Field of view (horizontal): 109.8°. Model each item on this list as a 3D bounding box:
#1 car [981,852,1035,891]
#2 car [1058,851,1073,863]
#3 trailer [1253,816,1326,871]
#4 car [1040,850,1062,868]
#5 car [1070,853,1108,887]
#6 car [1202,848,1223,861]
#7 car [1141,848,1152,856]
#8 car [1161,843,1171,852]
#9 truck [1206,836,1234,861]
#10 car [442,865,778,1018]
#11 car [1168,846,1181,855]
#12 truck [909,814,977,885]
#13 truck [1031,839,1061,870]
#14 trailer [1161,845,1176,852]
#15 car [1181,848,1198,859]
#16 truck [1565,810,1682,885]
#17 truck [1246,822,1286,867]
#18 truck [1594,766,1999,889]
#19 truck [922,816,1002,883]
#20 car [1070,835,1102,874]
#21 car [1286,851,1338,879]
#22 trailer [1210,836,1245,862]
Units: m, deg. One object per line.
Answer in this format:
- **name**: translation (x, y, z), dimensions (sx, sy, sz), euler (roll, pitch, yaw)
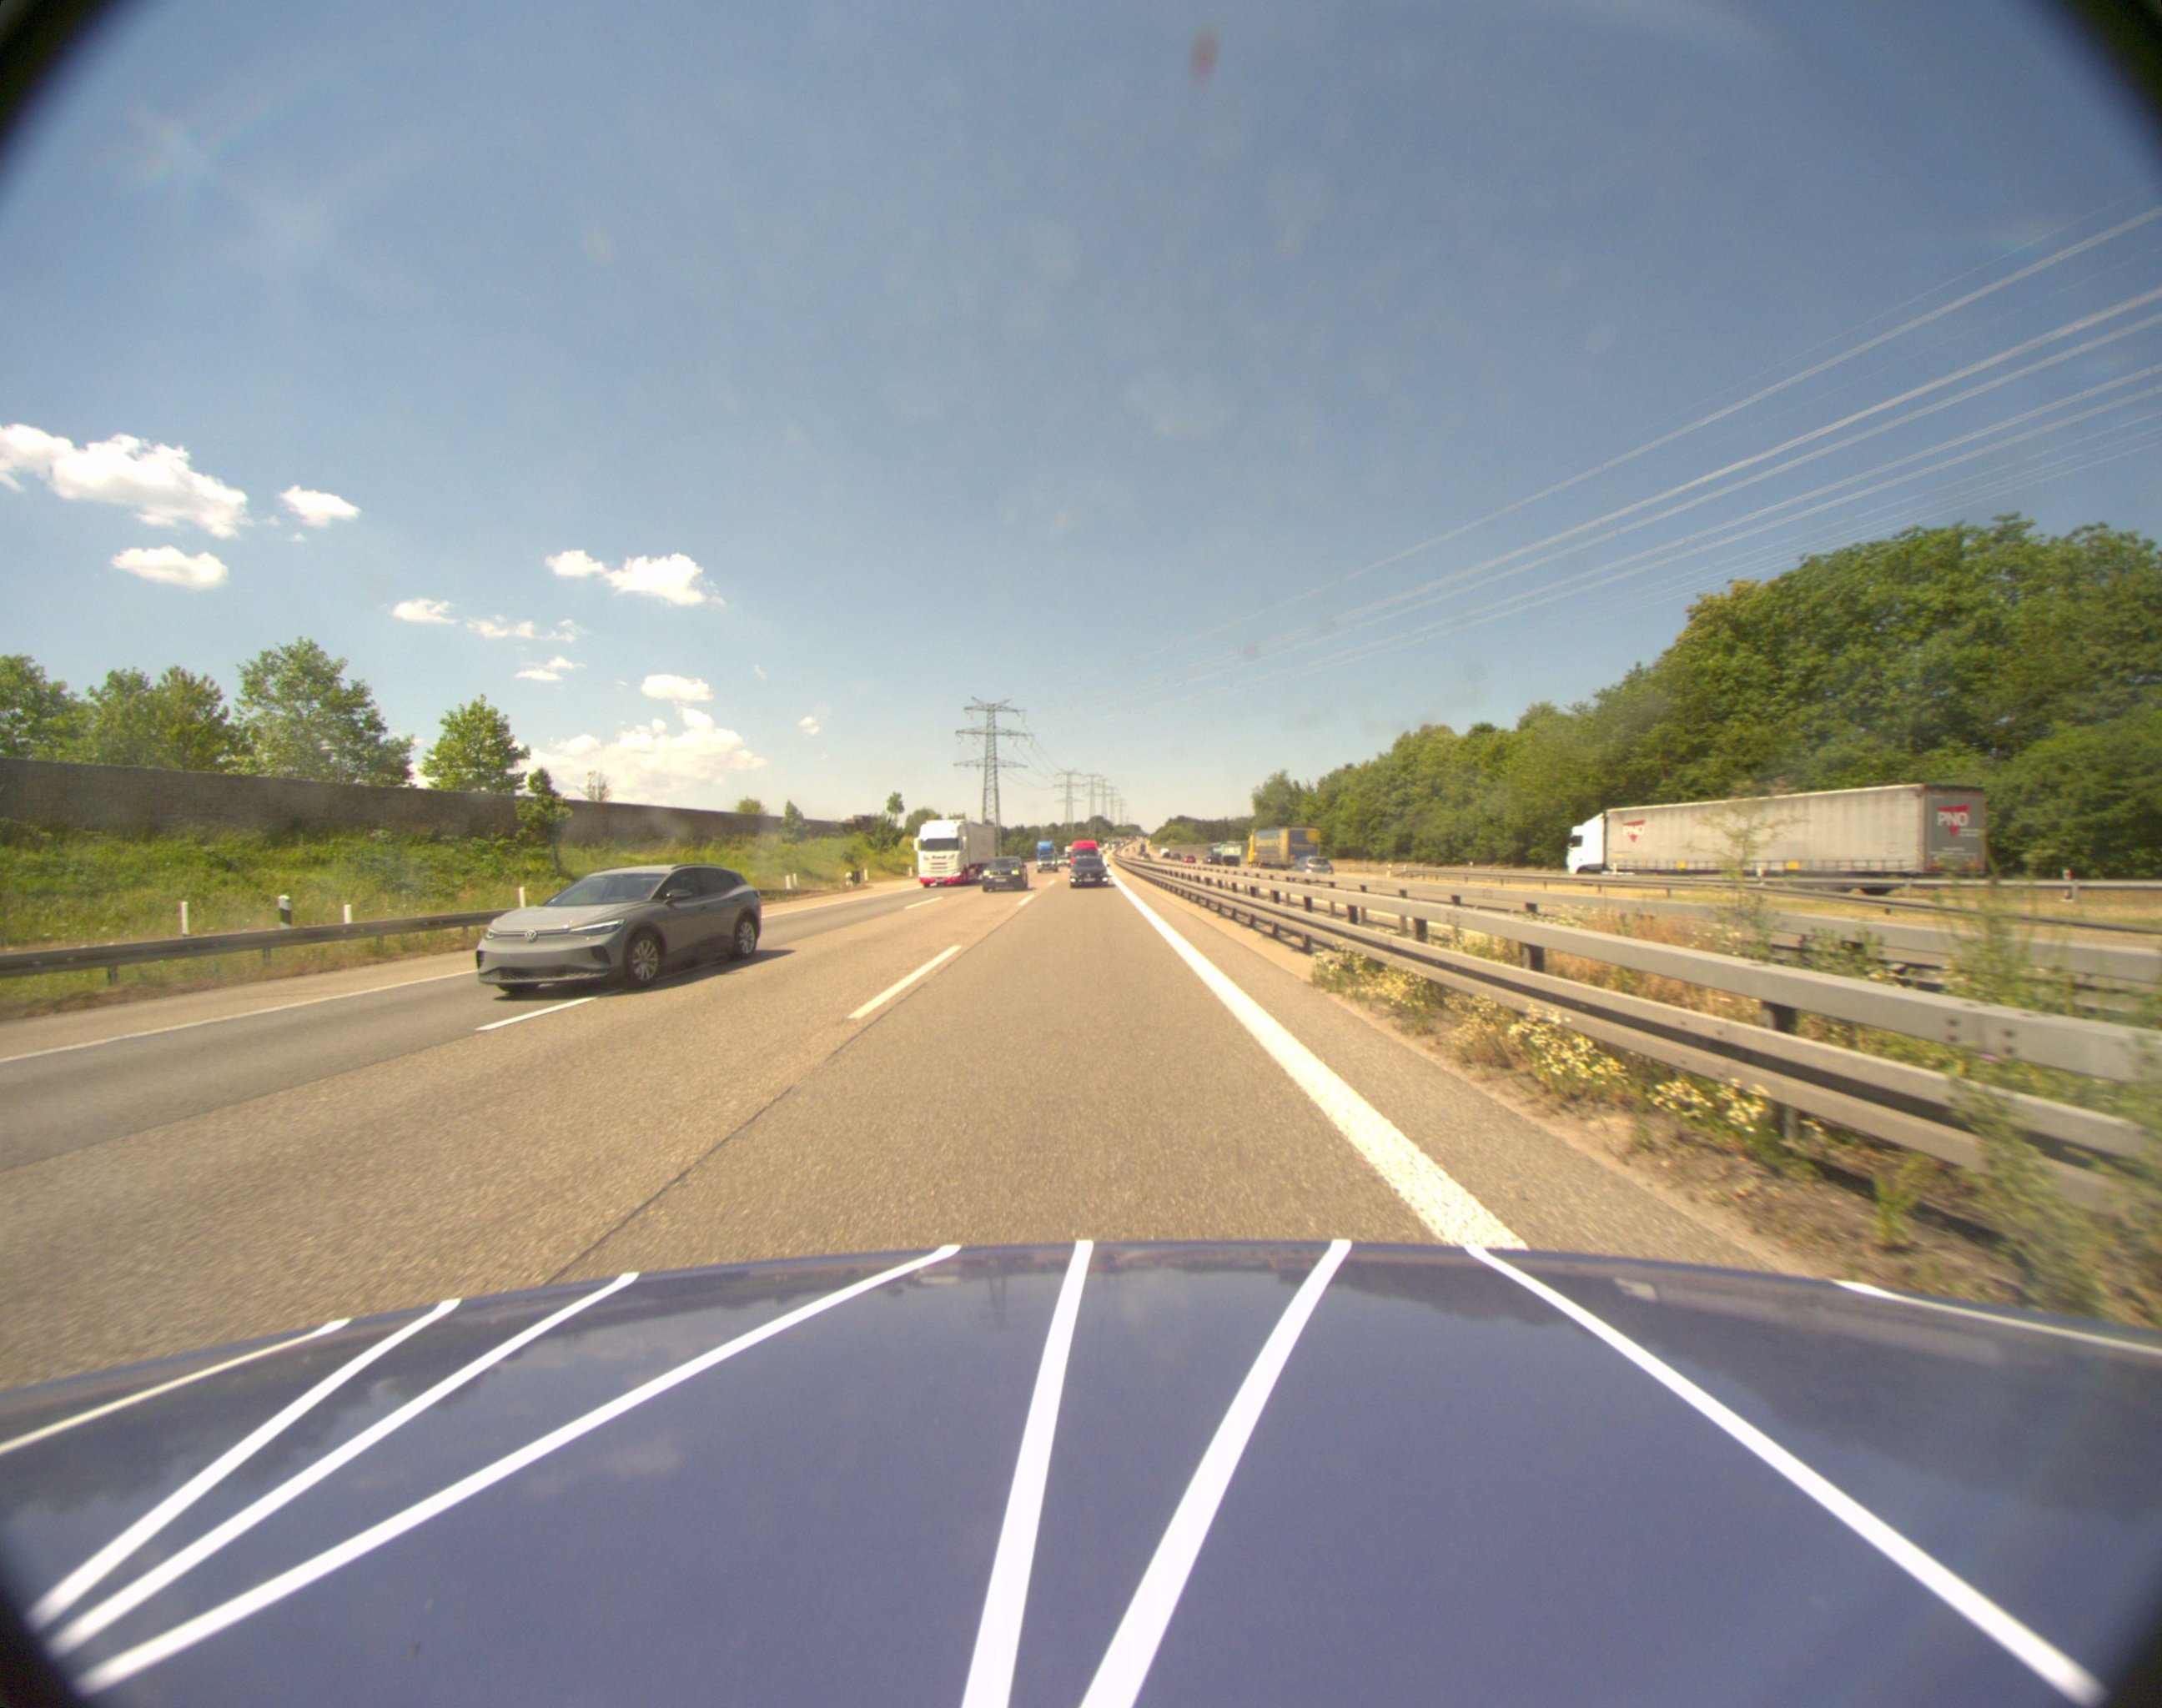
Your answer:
- **car**: translation (-3.394, 0.778, 36.046), dimensions (1.955, 1.637, 4.047), euler (-3, 1, 2)
- **car**: translation (-2.168, 0.349, 104.556), dimensions (1.879, 1.591, 3.688), euler (0, 1, 2)
- **trailer**: translation (18.044, -0.881, 67.072), dimensions (3.182, 4.316, 13.813), euler (-1, 1, 2)
- **car**: translation (-2.842, 0.464, 72.524), dimensions (1.749, 1.691, 4.088), euler (0, 1, 2)
- **car**: translation (0.426, 0.724, 37.033), dimensions (1.735, 1.535, 3.750), euler (0, 1, 2)
- **car**: translation (14.490, 0.030, 84.045), dimensions (1.716, 1.460, 4.146), euler (1, 1, 2)
- **car**: translation (12.764, -0.420, 148.548), dimensions (1.786, 1.615, 4.000), euler (0, 1, 1)
- **car**: translation (23.070, -1.762, 205.686), dimensions (2.114, 2.624, 6.003), euler (1, 1, 1)
- **truck**: translation (19.271, -0.761, 105.792), dimensions (2.921, 3.281, 5.330), euler (-1, 1, 1)
- **car**: translation (-6.469, 1.068, 11.241), dimensions (1.872, 1.627, 4.586), euler (-2, 1, 3)
- **car**: translation (20.721, -0.798, 167.827), dimensions (2.163, 1.789, 4.512), euler (1, 1, -1)
- **truck**: translation (-8.012, -0.247, 44.632), dimensions (3.076, 3.885, 3.847), euler (-2, 1, 1)
- **truck**: translation (-5.941, -0.028, 132.418), dimensions (3.797, 4.971, 14.923), euler (-2, 1, 2)
- **trailer**: translation (22.926, -1.478, 199.364), dimensions (2.772, 1.934, 6.722), euler (1, 1, -1)
- **car**: translation (15.403, -0.098, 107.681), dimensions (1.786, 1.522, 4.384), euler (2, 1, 0)
- **truck**: translation (29.346, -0.282, 41.333), dimensions (2.953, 3.872, 4.322), euler (-1, -1, -7)
- **truck**: translation (18.404, -0.967, 75.760), dimensions (3.182, 4.316, 3.513), euler (-1, 1, 2)
- **truck**: translation (30.324, -0.726, 34.191), dimensions (3.005, 4.314, 14.540), euler (-1, -2, -7)
- **truck**: translation (-7.825, -0.308, 51.993), dimensions (3.076, 3.885, 12.503), euler (-2, 0, 1)
- **car**: translation (0.387, 0.001, 53.278), dimensions (2.100, 2.598, 4.496), euler (0, 1, 2)
- **car**: translation (13.328, 0.600, 44.104), dimensions (1.786, 1.522, 3.883), euler (2, 1, 0)
- **trailer**: translation (19.188, -0.691, 100.175), dimensions (2.921, 3.281, 9.709), euler (-1, 1, 1)
